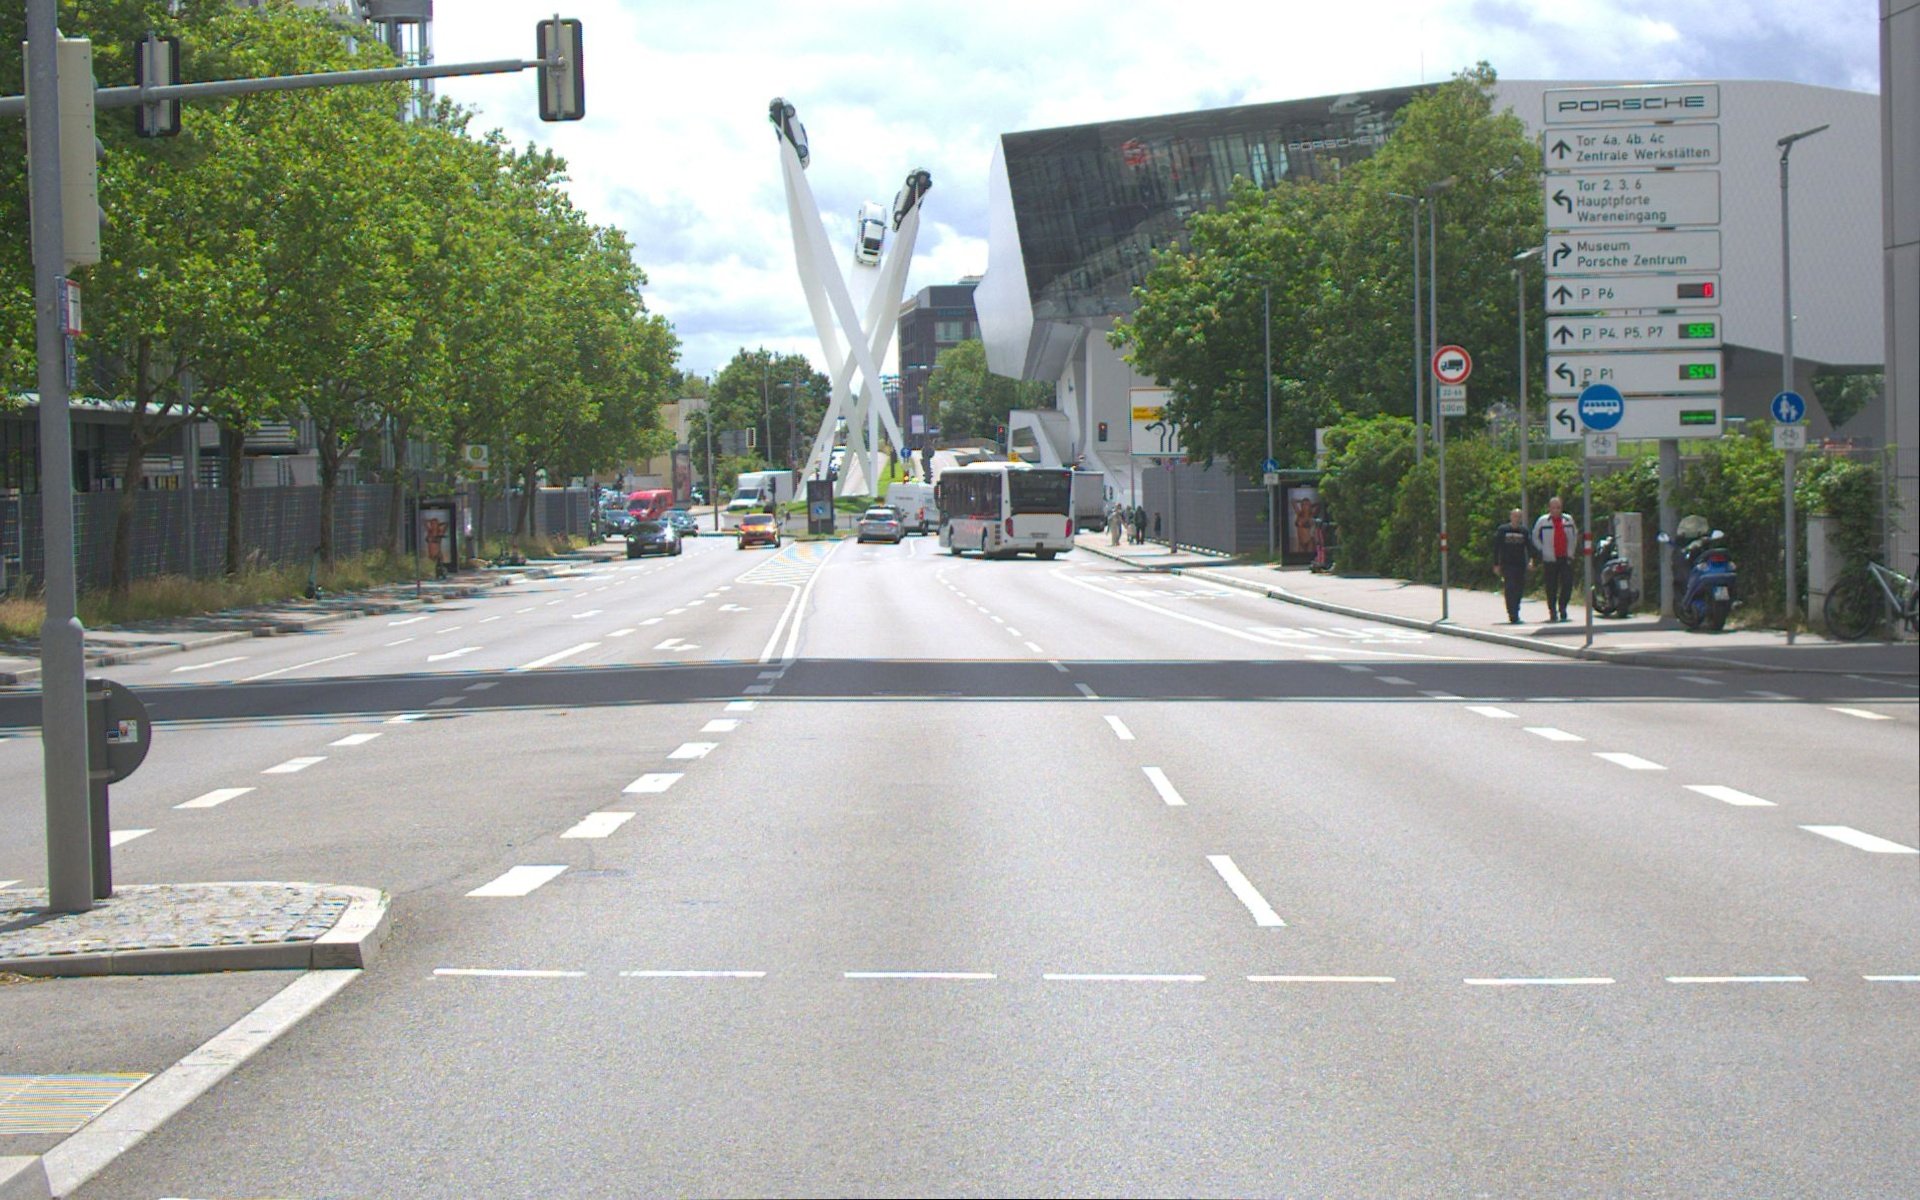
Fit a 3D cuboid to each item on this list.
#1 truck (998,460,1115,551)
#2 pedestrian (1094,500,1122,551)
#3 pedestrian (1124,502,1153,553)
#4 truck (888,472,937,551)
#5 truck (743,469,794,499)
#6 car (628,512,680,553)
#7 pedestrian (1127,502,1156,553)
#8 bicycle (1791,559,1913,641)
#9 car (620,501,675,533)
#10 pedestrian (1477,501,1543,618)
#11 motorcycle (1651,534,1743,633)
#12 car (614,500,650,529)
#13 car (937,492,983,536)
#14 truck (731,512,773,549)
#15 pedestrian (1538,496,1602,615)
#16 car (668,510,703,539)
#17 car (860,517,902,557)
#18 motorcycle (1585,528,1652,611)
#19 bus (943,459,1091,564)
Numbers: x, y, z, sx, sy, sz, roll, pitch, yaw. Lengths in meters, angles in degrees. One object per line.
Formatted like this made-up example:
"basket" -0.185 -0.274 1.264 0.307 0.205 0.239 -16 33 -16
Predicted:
"truck" 4.890 -4.671 171.632 3.455 4.376 9.412 0 1 17
"pedestrian" 5.945 -2.981 138.197 1.028 2.007 0.885 1 0 -4
"pedestrian" 7.158 -2.919 138.030 1.028 2.007 0.885 1 0 -4
"truck" -2.380 -4.410 172.094 2.392 3.884 6.177 0 1 -1
"truck" -13.192 -7.995 236.587 1.761 2.007 4.438 0 1 22
"car" -12.103 -2.667 136.313 1.818 1.532 3.679 -2 1 -2
"pedestrian" 7.332 -2.937 138.984 1.028 2.007 0.885 1 0 -4
"bicycle" 10.614 -0.012 40.966 0.397 0.933 1.929 0 1 -19
"car" -19.807 -5.273 218.202 1.995 2.007 3.996 0 1 20
"pedestrian" 8.070 -0.594 50.443 0.820 1.701 0.881 0 1 -1
"motorcycle" 9.609 -0.230 44.886 0.706 1.199 2.024 -2 2 -1
"car" -18.759 -4.880 196.553 1.818 1.532 3.679 -2 1 -2
"car" 0.020 -4.136 165.567 1.994 2.007 3.999 1 0 3
"truck" -8.639 -2.879 142.390 1.583 1.532 3.679 0 1 -6
"pedestrian" 8.947 -0.661 50.459 0.820 1.735 0.637 0 1 -1
"car" -15.017 -4.132 188.237 1.818 1.532 3.679 -2 1 -4
"car" -3.406 -2.725 148.696 1.738 1.735 3.691 0 1 -1
"motorcycle" 10.091 -0.484 52.743 0.574 1.199 2.024 -2 2 -1
"bus" 1.909 -3.102 121.632 3.451 3.531 10.609 0 1 -9
